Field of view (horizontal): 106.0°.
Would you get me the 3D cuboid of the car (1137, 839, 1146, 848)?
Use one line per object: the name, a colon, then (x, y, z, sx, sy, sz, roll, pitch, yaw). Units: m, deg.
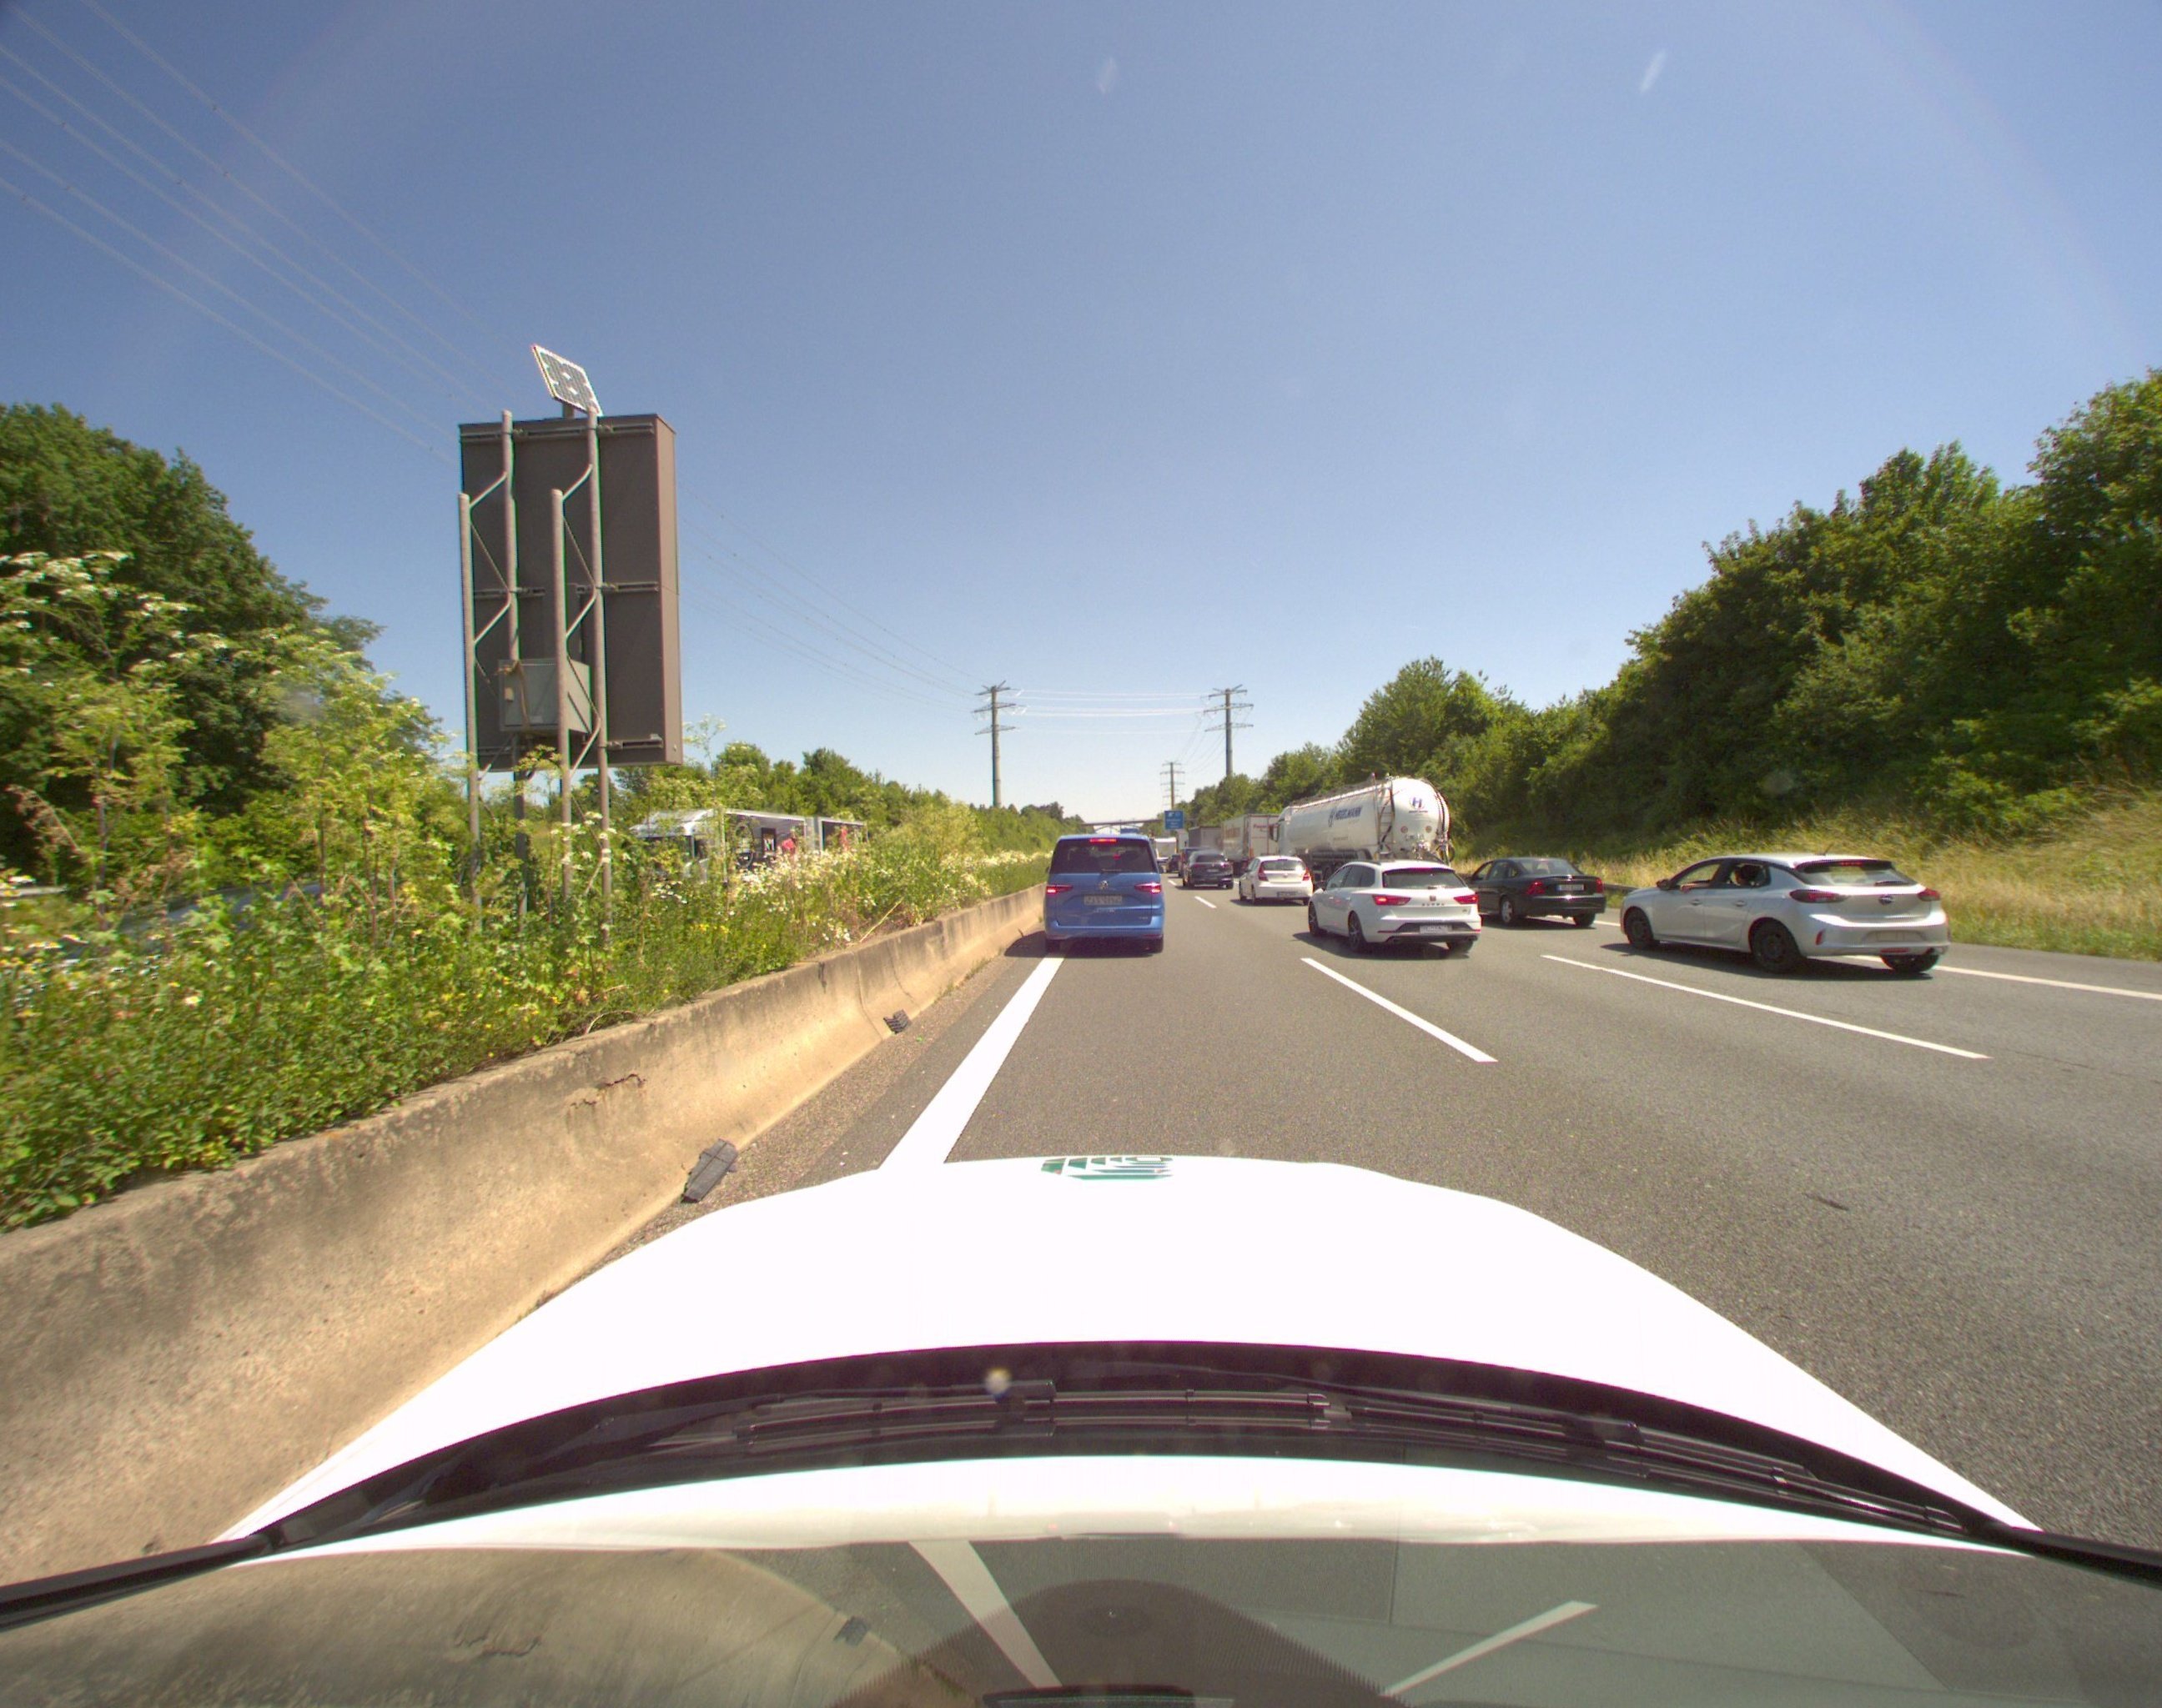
car: (15.288, -2.537, 206.545, 1.986, 2.126, 4.002, -1, -1, 2)

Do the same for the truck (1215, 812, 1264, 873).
truck: (12.286, -0.843, 63.555, 2.901, 4.469, 5.145, -2, -1, 2)

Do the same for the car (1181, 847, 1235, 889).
car: (5.765, 0.639, 37.381, 1.991, 1.715, 4.629, -2, -1, 3)

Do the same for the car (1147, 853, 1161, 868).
car: (10.179, 0.918, 113.616, 1.828, 1.998, 4.004, -3, -1, 4)

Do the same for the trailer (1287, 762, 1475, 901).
trailer: (9.948, -0.595, 28.835, 2.750, 3.845, 11.492, -2, 0, 2)

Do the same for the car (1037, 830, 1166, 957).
car: (0.410, 0.597, 14.125, 1.912, 1.886, 4.003, 0, 0, 3)

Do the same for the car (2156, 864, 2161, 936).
car: (4.738, 0.662, 0.652, 1.769, 1.416, 4.575, -3, -1, 3)

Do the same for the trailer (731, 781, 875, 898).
trailer: (-13.435, -0.577, 40.539, 3.308, 5.047, 9.598, -1, -1, 3)

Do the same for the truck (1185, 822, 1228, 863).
truck: (12.751, -0.952, 84.049, 2.993, 3.766, 15.727, -1, -1, 4)

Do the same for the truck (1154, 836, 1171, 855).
truck: (19.675, -1.998, 197.176, 3.552, 4.517, 10.298, -1, -1, 2)

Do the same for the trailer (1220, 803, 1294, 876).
trailer: (12.004, -0.878, 56.923, 2.901, 4.469, 12.160, -2, 0, 2)

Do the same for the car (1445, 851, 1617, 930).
car: (9.441, 0.727, 17.475, 1.634, 1.416, 3.992, -3, -1, 3)

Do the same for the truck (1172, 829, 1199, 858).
truck: (14.512, -1.348, 113.808, 2.883, 3.766, 13.357, -1, -1, 4)

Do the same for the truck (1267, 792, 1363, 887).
truck: (10.266, -0.589, 36.311, 2.782, 3.836, 5.575, -2, -1, 2)

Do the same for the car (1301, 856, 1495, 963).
car: (5.024, 0.821, 13.587, 1.740, 1.443, 4.317, -2, -1, 3)

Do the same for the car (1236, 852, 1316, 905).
car: (6.089, 0.748, 25.878, 1.809, 1.485, 4.004, -2, -1, 4)

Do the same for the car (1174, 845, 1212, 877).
car: (7.211, 0.481, 52.798, 1.917, 1.925, 4.236, -3, -1, 1)

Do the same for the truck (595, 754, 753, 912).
truck: (-14.022, -0.686, 28.440, 3.289, 5.051, 4.035, -1, 0, 2)

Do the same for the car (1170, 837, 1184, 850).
car: (15.651, -1.705, 132.792, 1.985, 2.014, 4.003, -1, -1, 3)

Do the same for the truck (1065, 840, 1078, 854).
truck: (-2.609, -1.931, 228.559, 2.899, 3.819, 11.952, 0, 0, 3)

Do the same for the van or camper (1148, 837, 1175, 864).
van or camper: (9.423, -0.337, 95.731, 2.943, 3.022, 7.110, -1, -1, 4)

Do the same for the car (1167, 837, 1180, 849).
car: (16.020, -1.848, 140.893, 1.985, 2.014, 4.003, -1, -1, 3)

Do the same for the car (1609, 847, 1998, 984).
car: (9.159, 0.660, 10.874, 1.724, 1.443, 4.031, -2, 0, 2)

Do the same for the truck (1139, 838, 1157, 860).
truck: (11.782, -0.795, 143.536, 2.883, 3.766, 10.149, -1, -1, 4)

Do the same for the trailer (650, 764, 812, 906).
trailer: (-13.813, -0.649, 32.915, 3.309, 5.047, 6.708, -1, -1, 3)

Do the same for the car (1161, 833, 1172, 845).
car: (16.053, -2.790, 153.032, 1.985, 2.014, 4.003, -1, -1, 3)

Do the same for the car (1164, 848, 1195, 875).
car: (7.679, 0.603, 64.024, 1.917, 1.925, 4.236, -3, -1, 1)
